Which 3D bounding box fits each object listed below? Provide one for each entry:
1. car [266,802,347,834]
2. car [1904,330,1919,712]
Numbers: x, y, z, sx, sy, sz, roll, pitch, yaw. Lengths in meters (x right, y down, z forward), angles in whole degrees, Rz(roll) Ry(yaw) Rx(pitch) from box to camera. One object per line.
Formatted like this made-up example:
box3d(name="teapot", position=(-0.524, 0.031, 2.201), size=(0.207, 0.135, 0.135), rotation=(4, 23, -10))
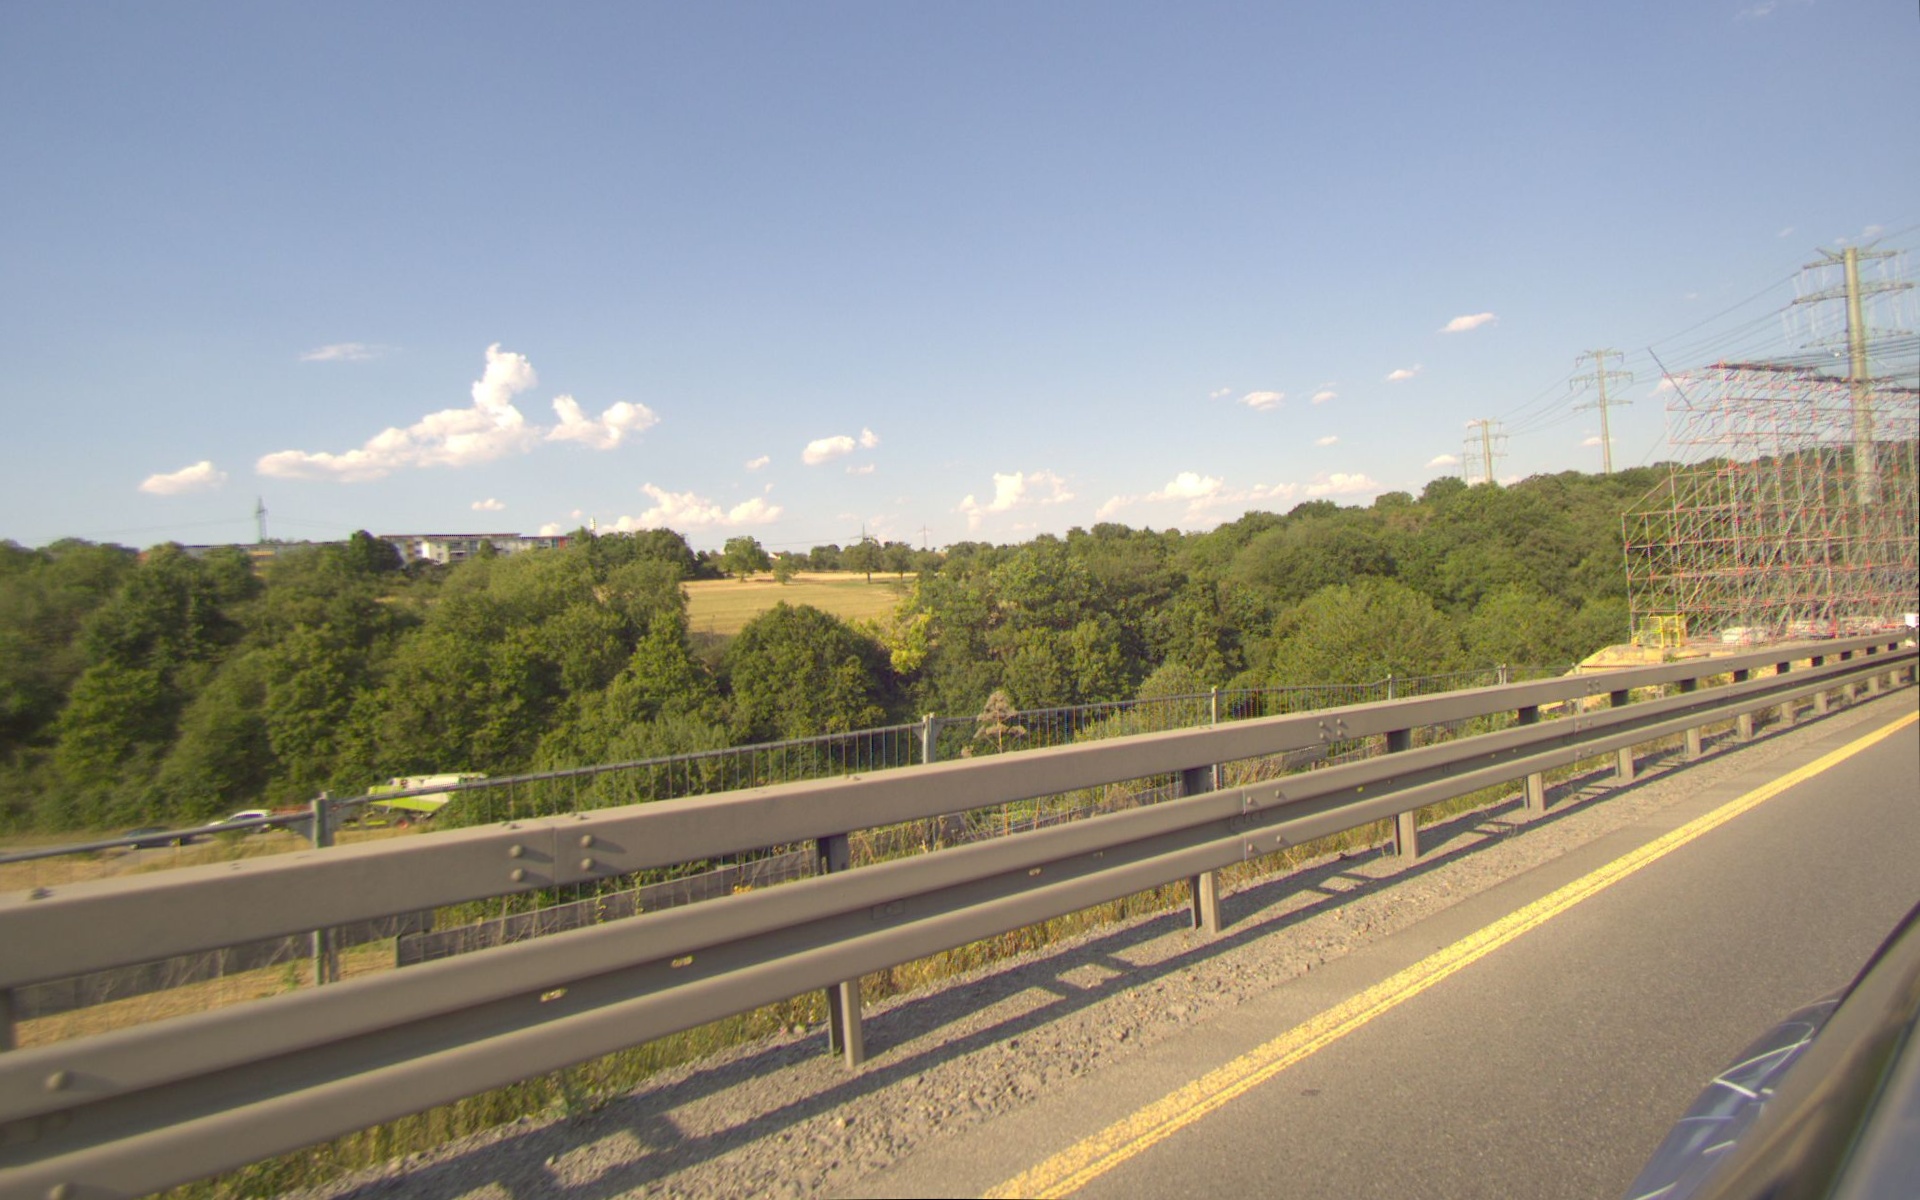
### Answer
box3d(name="car", position=(-50.602, 16.898, 78.451), size=(5.023, 1.858, 1.711), rotation=(0, 0, -13))
box3d(name="car", position=(14.442, -0.883, 12.486), size=(8.129, 4.167, 2.859), rotation=(-1, 1, -38))
